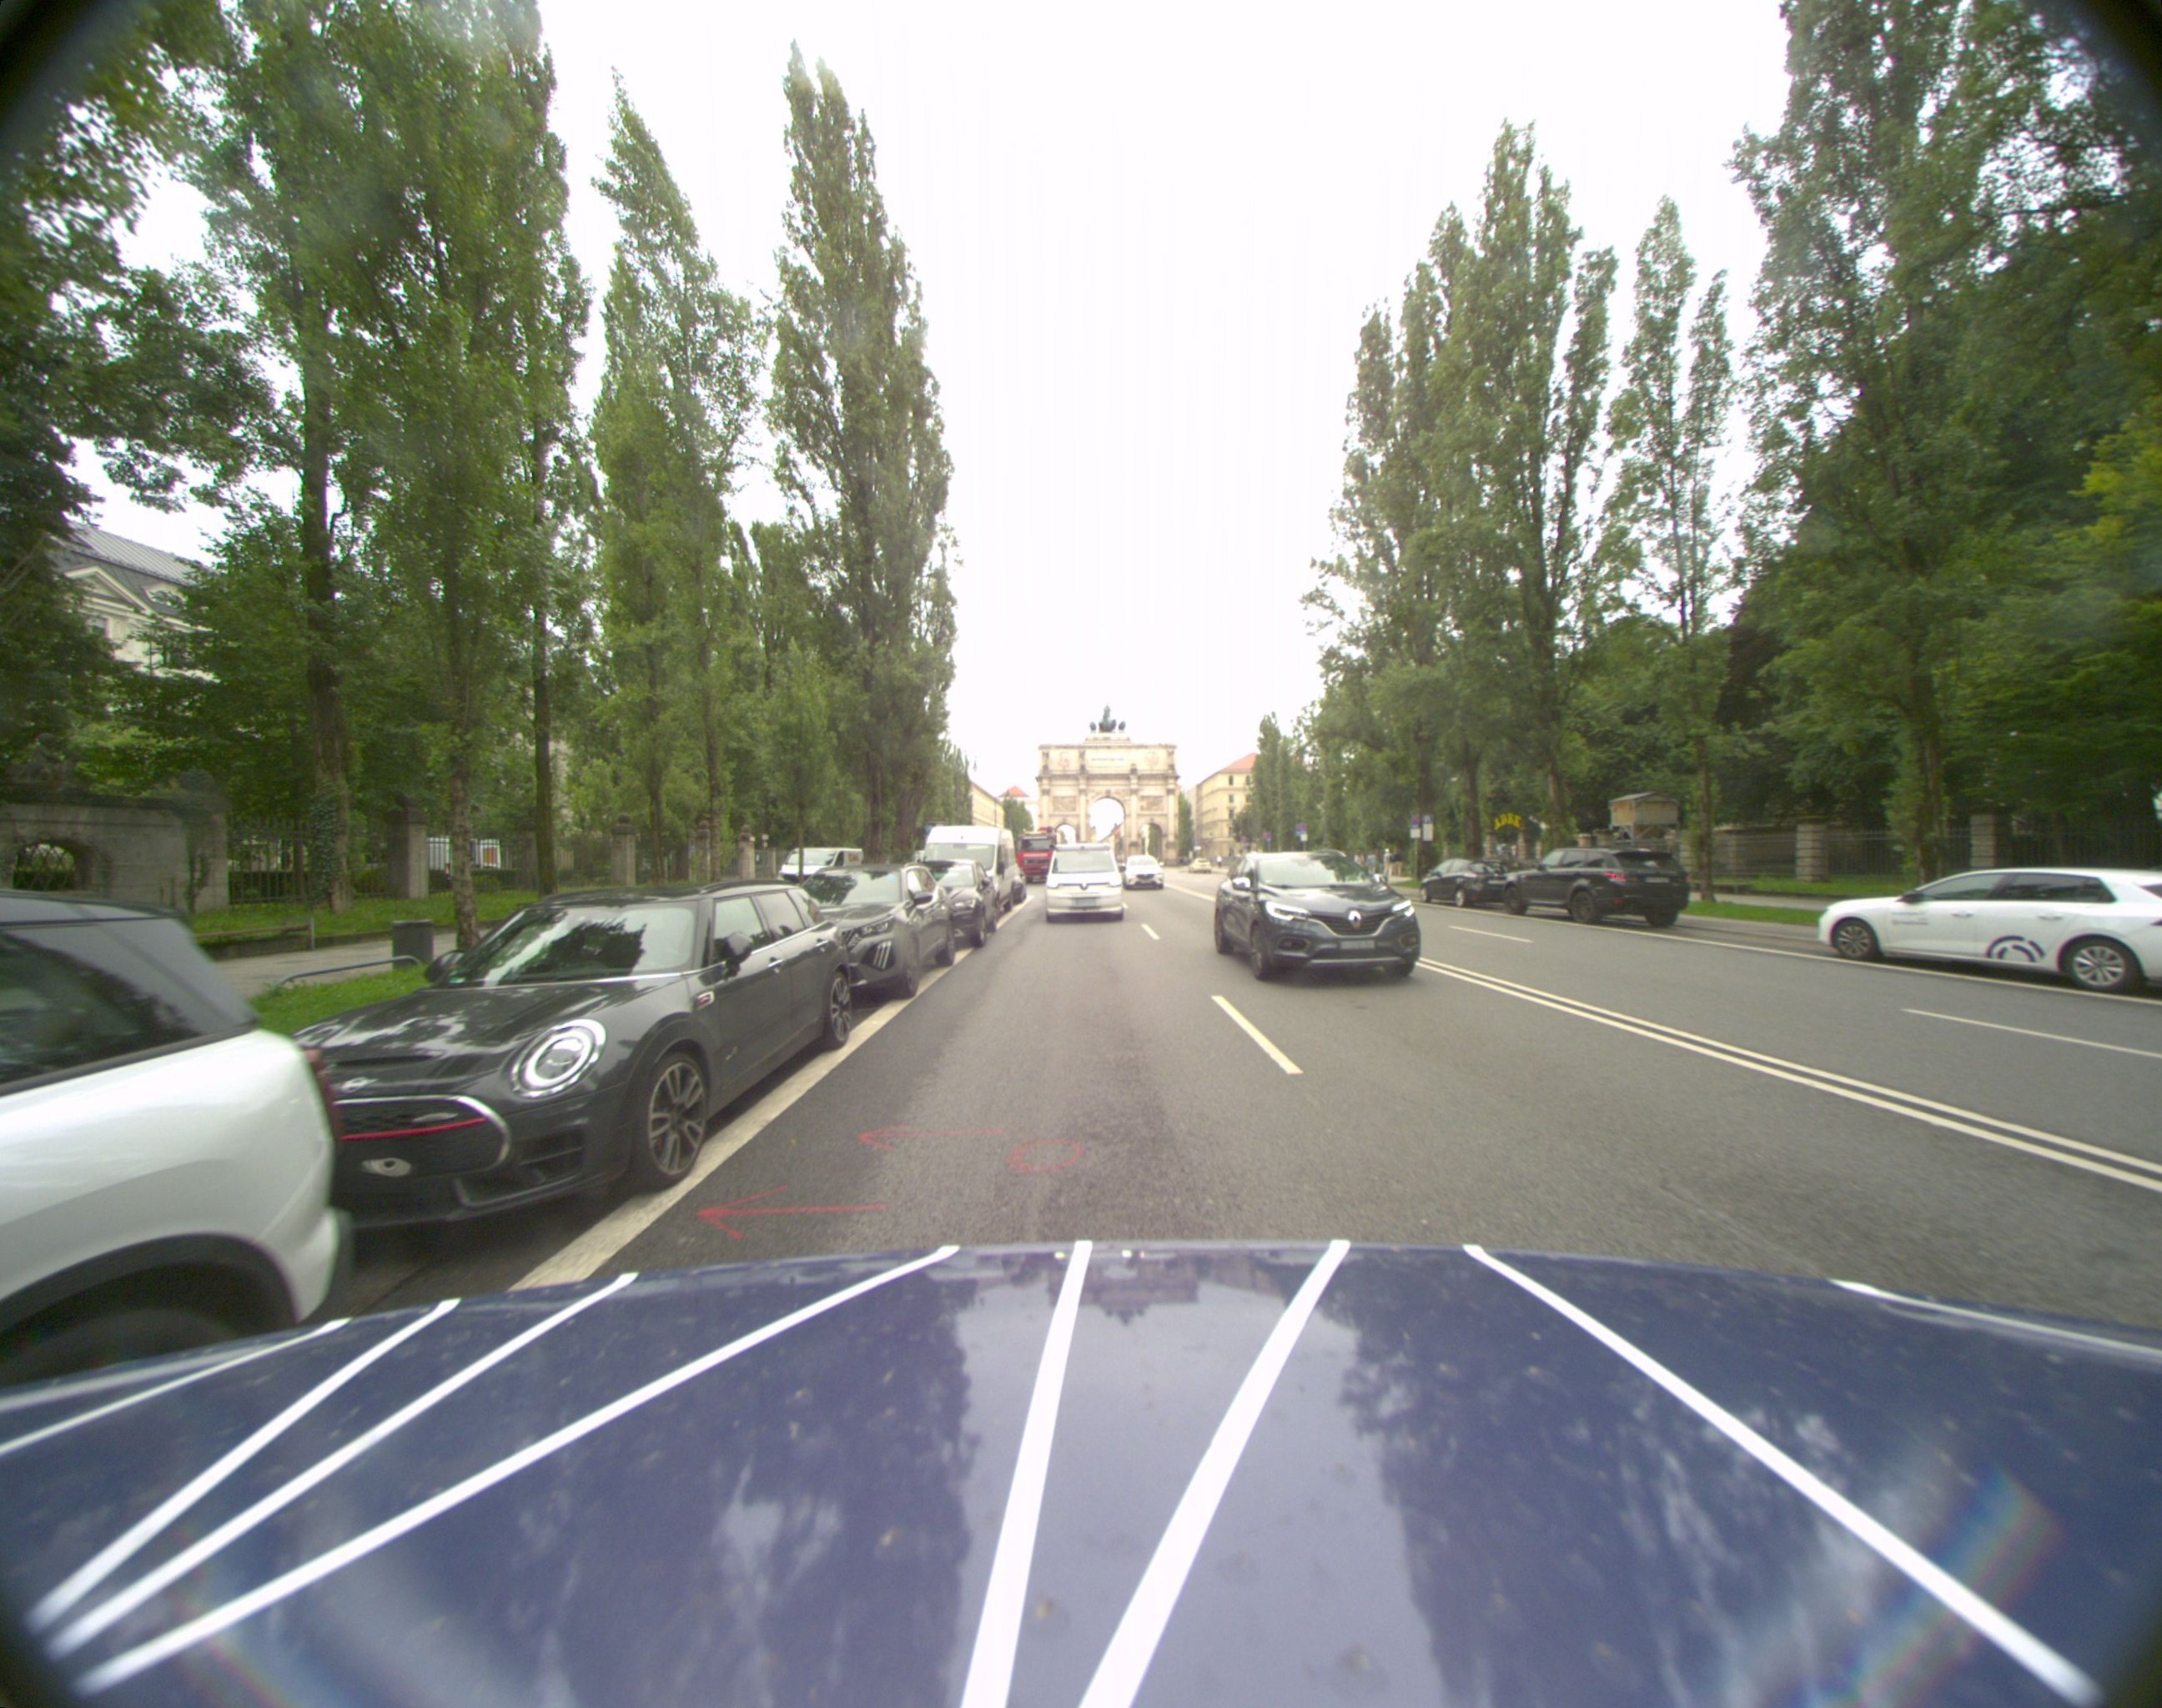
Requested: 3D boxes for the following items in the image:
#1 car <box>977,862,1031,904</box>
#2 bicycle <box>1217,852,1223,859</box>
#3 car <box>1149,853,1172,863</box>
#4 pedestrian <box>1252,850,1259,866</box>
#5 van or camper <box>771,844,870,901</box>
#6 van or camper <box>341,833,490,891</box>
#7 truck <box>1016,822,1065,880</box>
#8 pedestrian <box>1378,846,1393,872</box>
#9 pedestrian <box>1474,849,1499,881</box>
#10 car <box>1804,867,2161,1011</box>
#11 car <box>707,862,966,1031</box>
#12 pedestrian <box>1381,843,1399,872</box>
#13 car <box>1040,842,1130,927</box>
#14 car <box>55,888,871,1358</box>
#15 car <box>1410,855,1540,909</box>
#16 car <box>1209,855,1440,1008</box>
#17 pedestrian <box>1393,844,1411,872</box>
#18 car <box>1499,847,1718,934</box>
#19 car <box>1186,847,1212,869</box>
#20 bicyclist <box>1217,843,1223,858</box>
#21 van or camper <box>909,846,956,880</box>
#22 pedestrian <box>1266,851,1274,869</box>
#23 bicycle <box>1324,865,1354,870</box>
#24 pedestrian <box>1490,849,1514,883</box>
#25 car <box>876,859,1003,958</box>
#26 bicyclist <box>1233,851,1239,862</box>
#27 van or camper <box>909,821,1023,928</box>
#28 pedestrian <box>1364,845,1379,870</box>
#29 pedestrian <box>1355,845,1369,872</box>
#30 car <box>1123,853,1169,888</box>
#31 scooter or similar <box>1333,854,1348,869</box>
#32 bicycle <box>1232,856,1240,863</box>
[{"bbox_3d":[-2.799,1.033,28.363,1.680,1.412,3.999,-1,0,-1],"label":"car"},{"bbox_3d":[17.873,0.190,97.741,0.470,0.947,1.913,-2,0,-1],"label":"bicycle"},{"bbox_3d":[15.339,0.758,146.589,2.004,1.739,3.989,0,0,-40],"label":"car"},{"bbox_3d":[18.131,0.420,78.808,0.533,1.720,0.583,0,0,-11],"label":"pedestrian"},{"bbox_3d":[-9.709,0.633,28.813,1.980,1.922,5.038,-1,0,0],"label":"van or camper"},{"bbox_3d":[-32.108,0.390,36.784,5.222,2.690,2.249,0,0,0],"label":"van or camper"},{"bbox_3d":[-2.582,-0.170,51.577,2.852,3.543,10.278,-1,0,-1],"label":"truck"},{"bbox_3d":[20.334,0.314,50.789,0.661,1.706,0.911,0,0,0],"label":"pedestrian"},{"bbox_3d":[19.779,0.530,37.046,0.720,1.539,0.875,-1,1,-1],"label":"pedestrian"},{"bbox_3d":[12.369,0.963,9.944,1.708,1.450,4.272,2,0,0],"label":"car"},{"bbox_3d":[-2.752,0.937,9.780,1.788,1.608,4.638,0,0,0],"label":"car"},{"bbox_3d":[19.732,0.205,48.497,0.711,1.823,1.093,-1,1,0],"label":"pedestrian"},{"bbox_3d":[0.137,0.703,20.535,2.064,1.916,5.728,-1,0,1],"label":"car"},{"bbox_3d":[-2.820,1.066,4.885,1.707,1.511,4.295,0,0,0],"label":"car"},{"bbox_3d":[12.646,0.835,24.743,1.949,1.574,4.389,1,0,1],"label":"car"},{"bbox_3d":[2.981,0.844,10.311,1.840,1.576,4.185,-2,0,1],"label":"car"},{"bbox_3d":[20.479,0.270,48.520,0.711,1.762,1.093,0,1,0],"label":"pedestrian"},{"bbox_3d":[12.465,0.761,18.456,2.051,1.776,4.800,2,0,2],"label":"car"},{"bbox_3d":[11.867,0.363,76.465,1.797,1.331,4.459,0,12,-2],"label":"car"},{"bbox_3d":[17.828,-0.462,97.739,0.591,1.812,0.661,-2,0,-2],"label":"bicyclist"},{"bbox_3d":[-9.361,0.552,48.299,2.009,2.002,4.985,-1,0,-1],"label":"van or camper"},{"bbox_3d":[18.438,0.613,74.028,0.533,1.720,0.583,0,0,-11],"label":"pedestrian"},{"bbox_3d":[23.357,1.199,68.738,2.219,0.450,1.339,0,-1,-22],"label":"bicycle"},{"bbox_3d":[20.503,0.580,37.050,0.720,1.595,0.813,0,1,-1],"label":"pedestrian"},{"bbox_3d":[-2.618,0.940,15.024,1.789,1.639,4.417,0,0,-2],"label":"car"},{"bbox_3d":[22.142,0.322,108.374,0.647,1.582,0.661,-2,0,-2],"label":"bicyclist"},{"bbox_3d":[-2.993,0.481,21.351,2.144,2.525,6.417,-1,0,0],"label":"van or camper"},{"bbox_3d":[19.421,0.245,50.825,0.689,1.690,0.885,0,0,0],"label":"pedestrian"},{"bbox_3d":[18.716,0.290,50.625,0.631,1.737,0.908,0,0,0],"label":"pedestrian"},{"bbox_3d":[3.005,0.743,35.842,1.910,1.516,4.009,0,0,1],"label":"car"},{"bbox_3d":[21.926,0.625,64.238,0.747,1.171,1.416,1,0,-4],"label":"scooter or similar"},{"bbox_3d":[22.157,0.747,108.383,0.674,0.947,1.913,-2,0,-1],"label":"bicycle"}]
